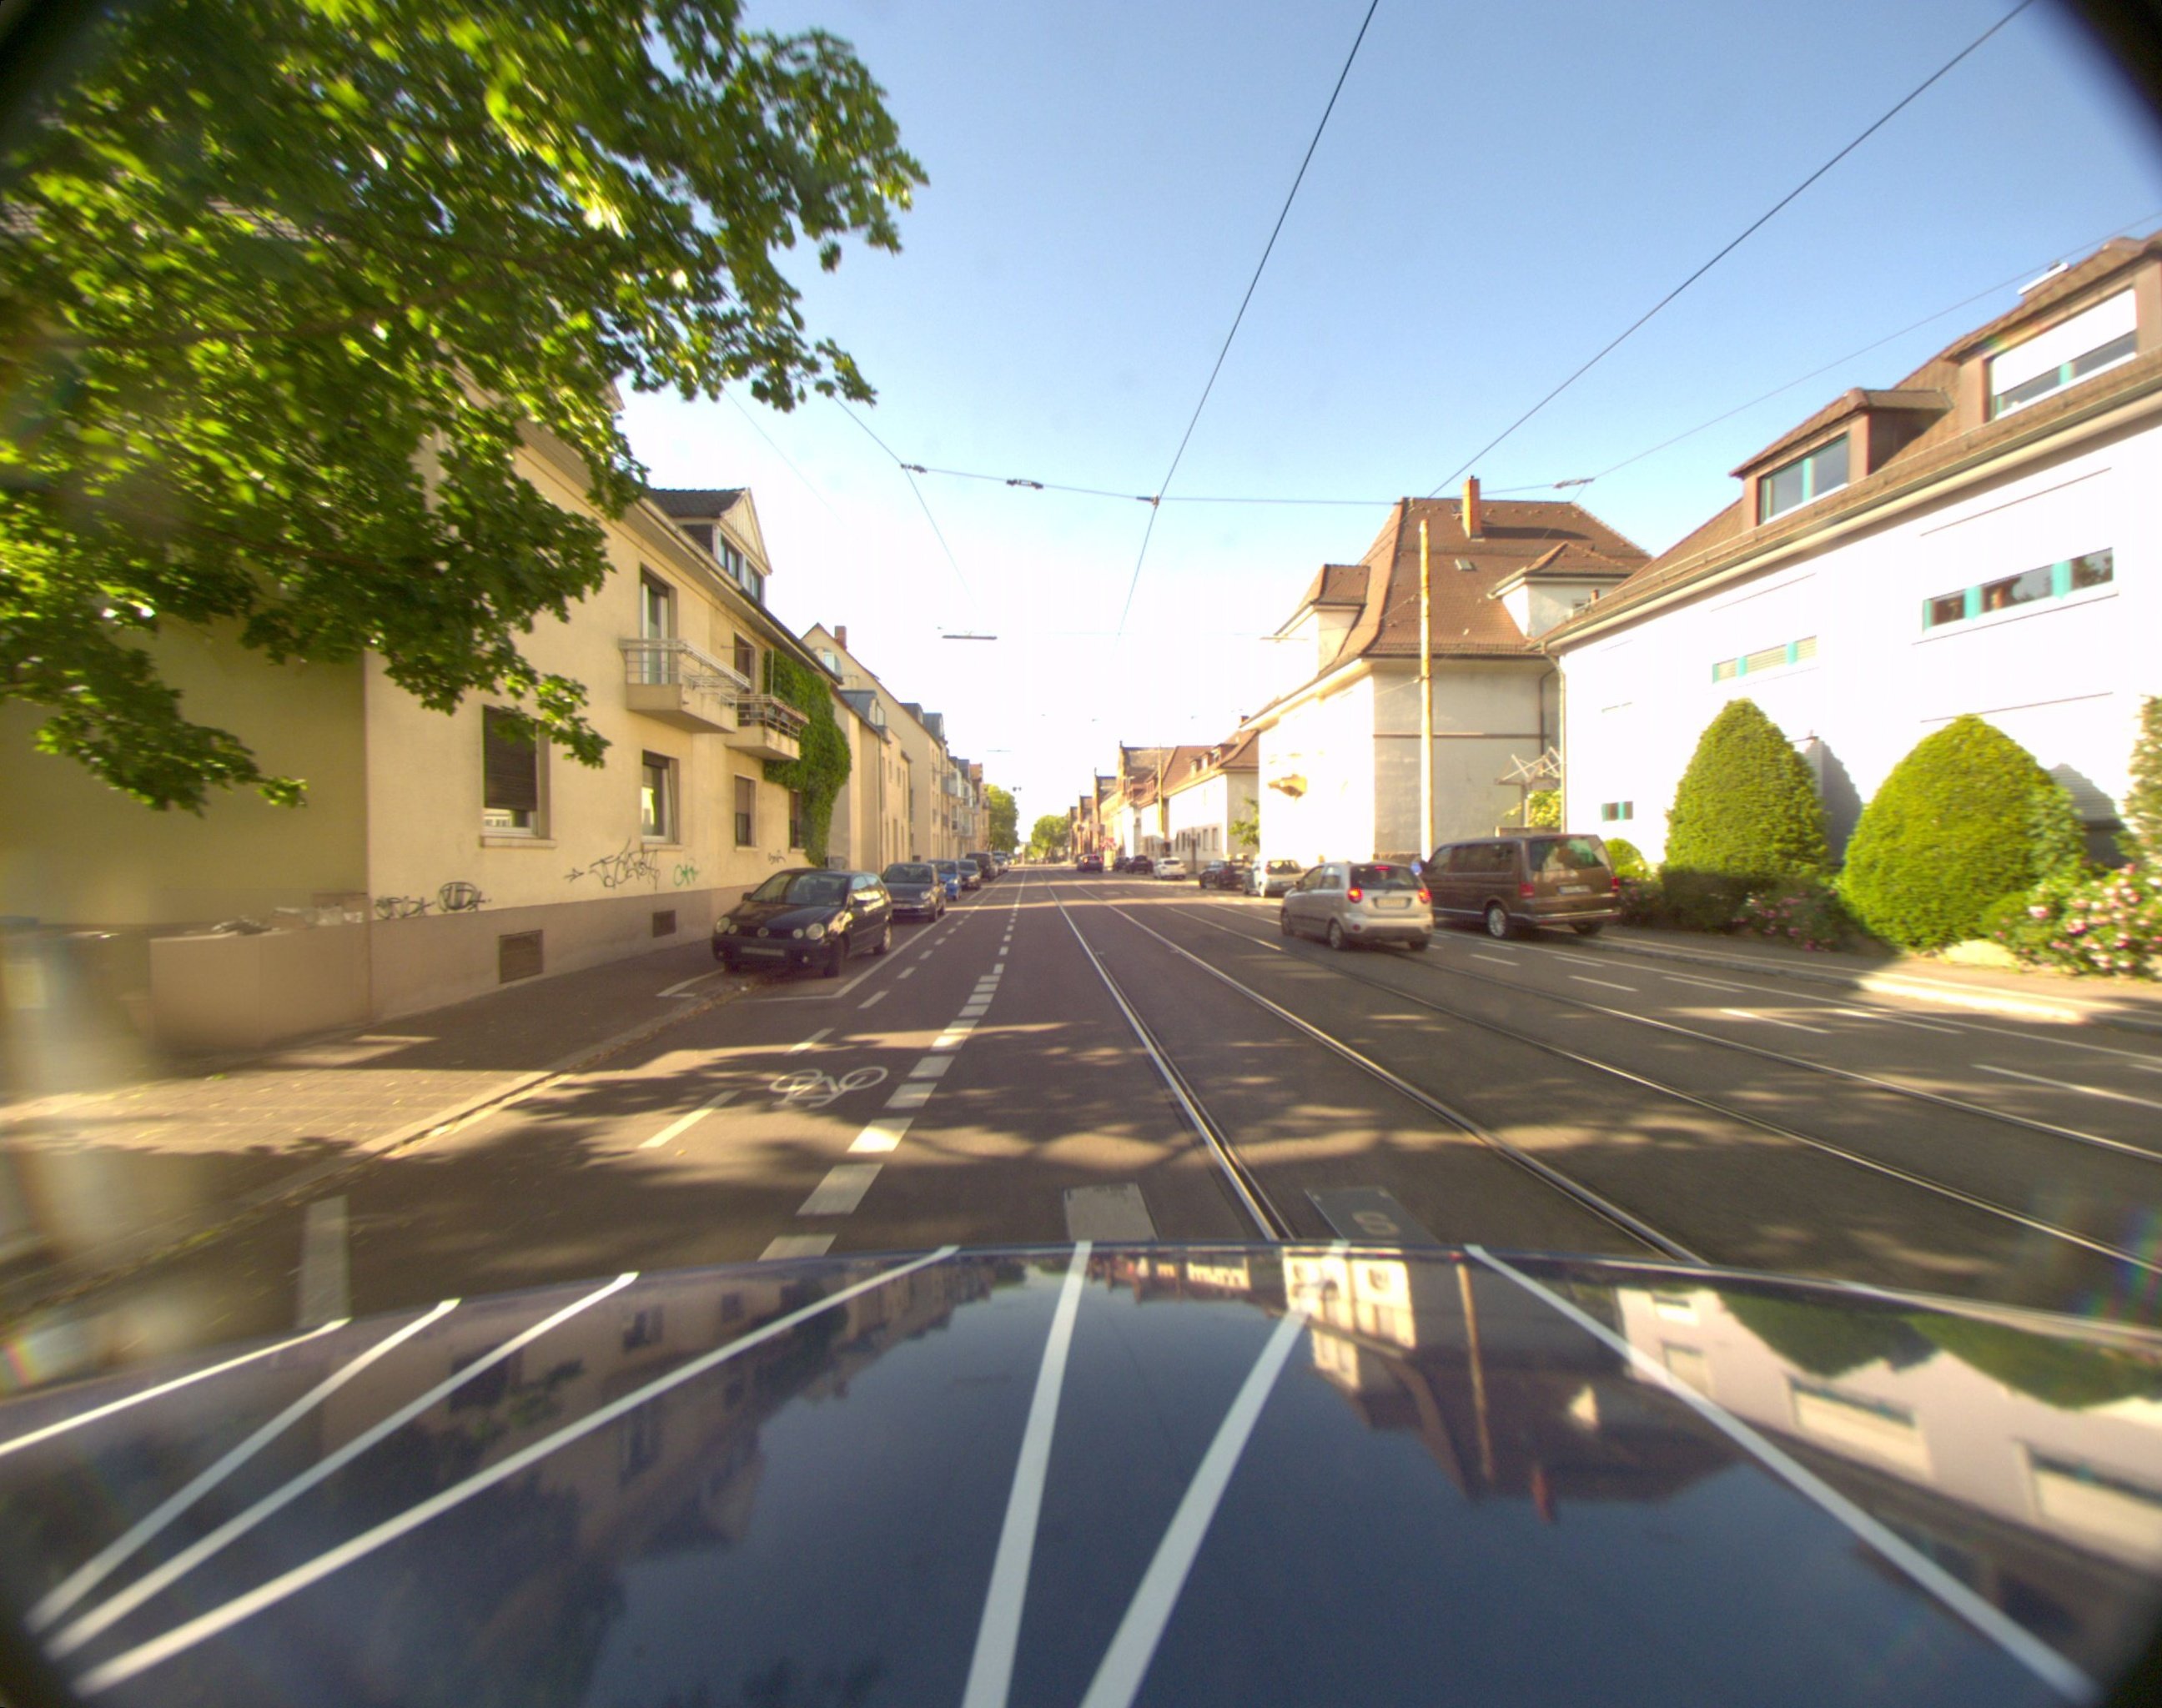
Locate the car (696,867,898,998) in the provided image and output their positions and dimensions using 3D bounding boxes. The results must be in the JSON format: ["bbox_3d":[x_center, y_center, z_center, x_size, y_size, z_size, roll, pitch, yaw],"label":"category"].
[{"bbox_3d":[-4.064,1.036,11.550,1.670,1.555,3.770,0,1,-1],"label":"car"}]

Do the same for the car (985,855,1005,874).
[{"bbox_3d":[-7.307,0.886,64.861,1.558,1.548,3.650,-2,0,-4],"label":"car"}]

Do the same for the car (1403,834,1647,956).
[{"bbox_3d":[8.591,0.689,15.371,1.911,2.002,4.948,-2,0,-1],"label":"car"}]

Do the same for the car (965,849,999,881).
[{"bbox_3d":[-6.501,0.702,50.263,1.911,1.975,4.561,-2,0,-4],"label":"car"}]

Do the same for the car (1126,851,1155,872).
[{"bbox_3d":[5.086,0.611,65.744,1.767,1.695,4.553,1,0,-4],"label":"car"}]

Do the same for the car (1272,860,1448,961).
[{"bbox_3d":[4.619,0.868,13.097,1.579,1.468,3.439,1,0,-3],"label":"car"}]

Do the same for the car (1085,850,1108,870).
[{"bbox_3d":[1.403,0.530,68.950,1.708,1.695,4.362,1,0,-3],"label":"car"}]

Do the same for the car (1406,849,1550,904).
[{"bbox_3d":[13.152,0.714,25.305,3.937,1.773,1.754,0,0,-5],"label":"car"}]

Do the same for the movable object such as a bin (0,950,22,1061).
[{"bbox_3d":[-9.552,1.312,6.408,0.530,0.942,0.498,0,0,0],"label":"movable object such as a bin"}]

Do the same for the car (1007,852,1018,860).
[{"bbox_3d":[-13.782,0.388,152.262,1.984,1.539,4.034,-1,-1,-3],"label":"car"}]

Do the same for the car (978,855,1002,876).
[{"bbox_3d":[-7.141,0.868,59.900,1.682,1.482,4.171,-2,0,-4],"label":"car"}]

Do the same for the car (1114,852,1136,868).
[{"bbox_3d":[4.447,0.572,77.381,1.620,1.618,3.919,1,0,-4],"label":"car"}]

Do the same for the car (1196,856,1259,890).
[{"bbox_3d":[6.835,0.863,35.949,1.668,1.468,4.247,-1,0,-7],"label":"car"}]

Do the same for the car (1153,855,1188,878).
[{"bbox_3d":[5.954,0.798,50.880,1.636,1.449,4.014,1,0,-3],"label":"car"}]

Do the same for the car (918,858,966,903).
[{"bbox_3d":[-5.280,0.964,29.202,1.461,1.589,3.292,-2,0,-5],"label":"car"}]

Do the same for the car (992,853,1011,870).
[{"bbox_3d":[-8.280,0.748,79.479,1.744,1.736,4.254,-2,0,-3],"label":"car"}]

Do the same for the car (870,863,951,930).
[{"bbox_3d":[-4.423,1.036,20.141,1.606,1.516,3.547,-2,0,-5],"label":"car"}]

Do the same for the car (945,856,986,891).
[{"bbox_3d":[-5.802,0.955,38.476,1.749,1.589,4.431,-2,0,-5],"label":"car"}]

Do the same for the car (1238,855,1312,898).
[{"bbox_3d":[7.463,0.823,29.617,1.681,1.468,3.834,-2,0,-3],"label":"car"}]

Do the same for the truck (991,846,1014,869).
[{"bbox_3d":[-8.792,0.358,85.659,2.302,2.463,6.144,0,0,-3],"label":"truck"}]

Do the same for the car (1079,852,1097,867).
[{"bbox_3d":[0.687,0.554,76.893,1.622,1.452,4.074,1,0,-2],"label":"car"}]

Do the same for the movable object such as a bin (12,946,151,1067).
[{"bbox_3d":[-8.589,1.297,6.547,0.530,0.942,0.498,0,0,0],"label":"movable object such as a bin"}]
